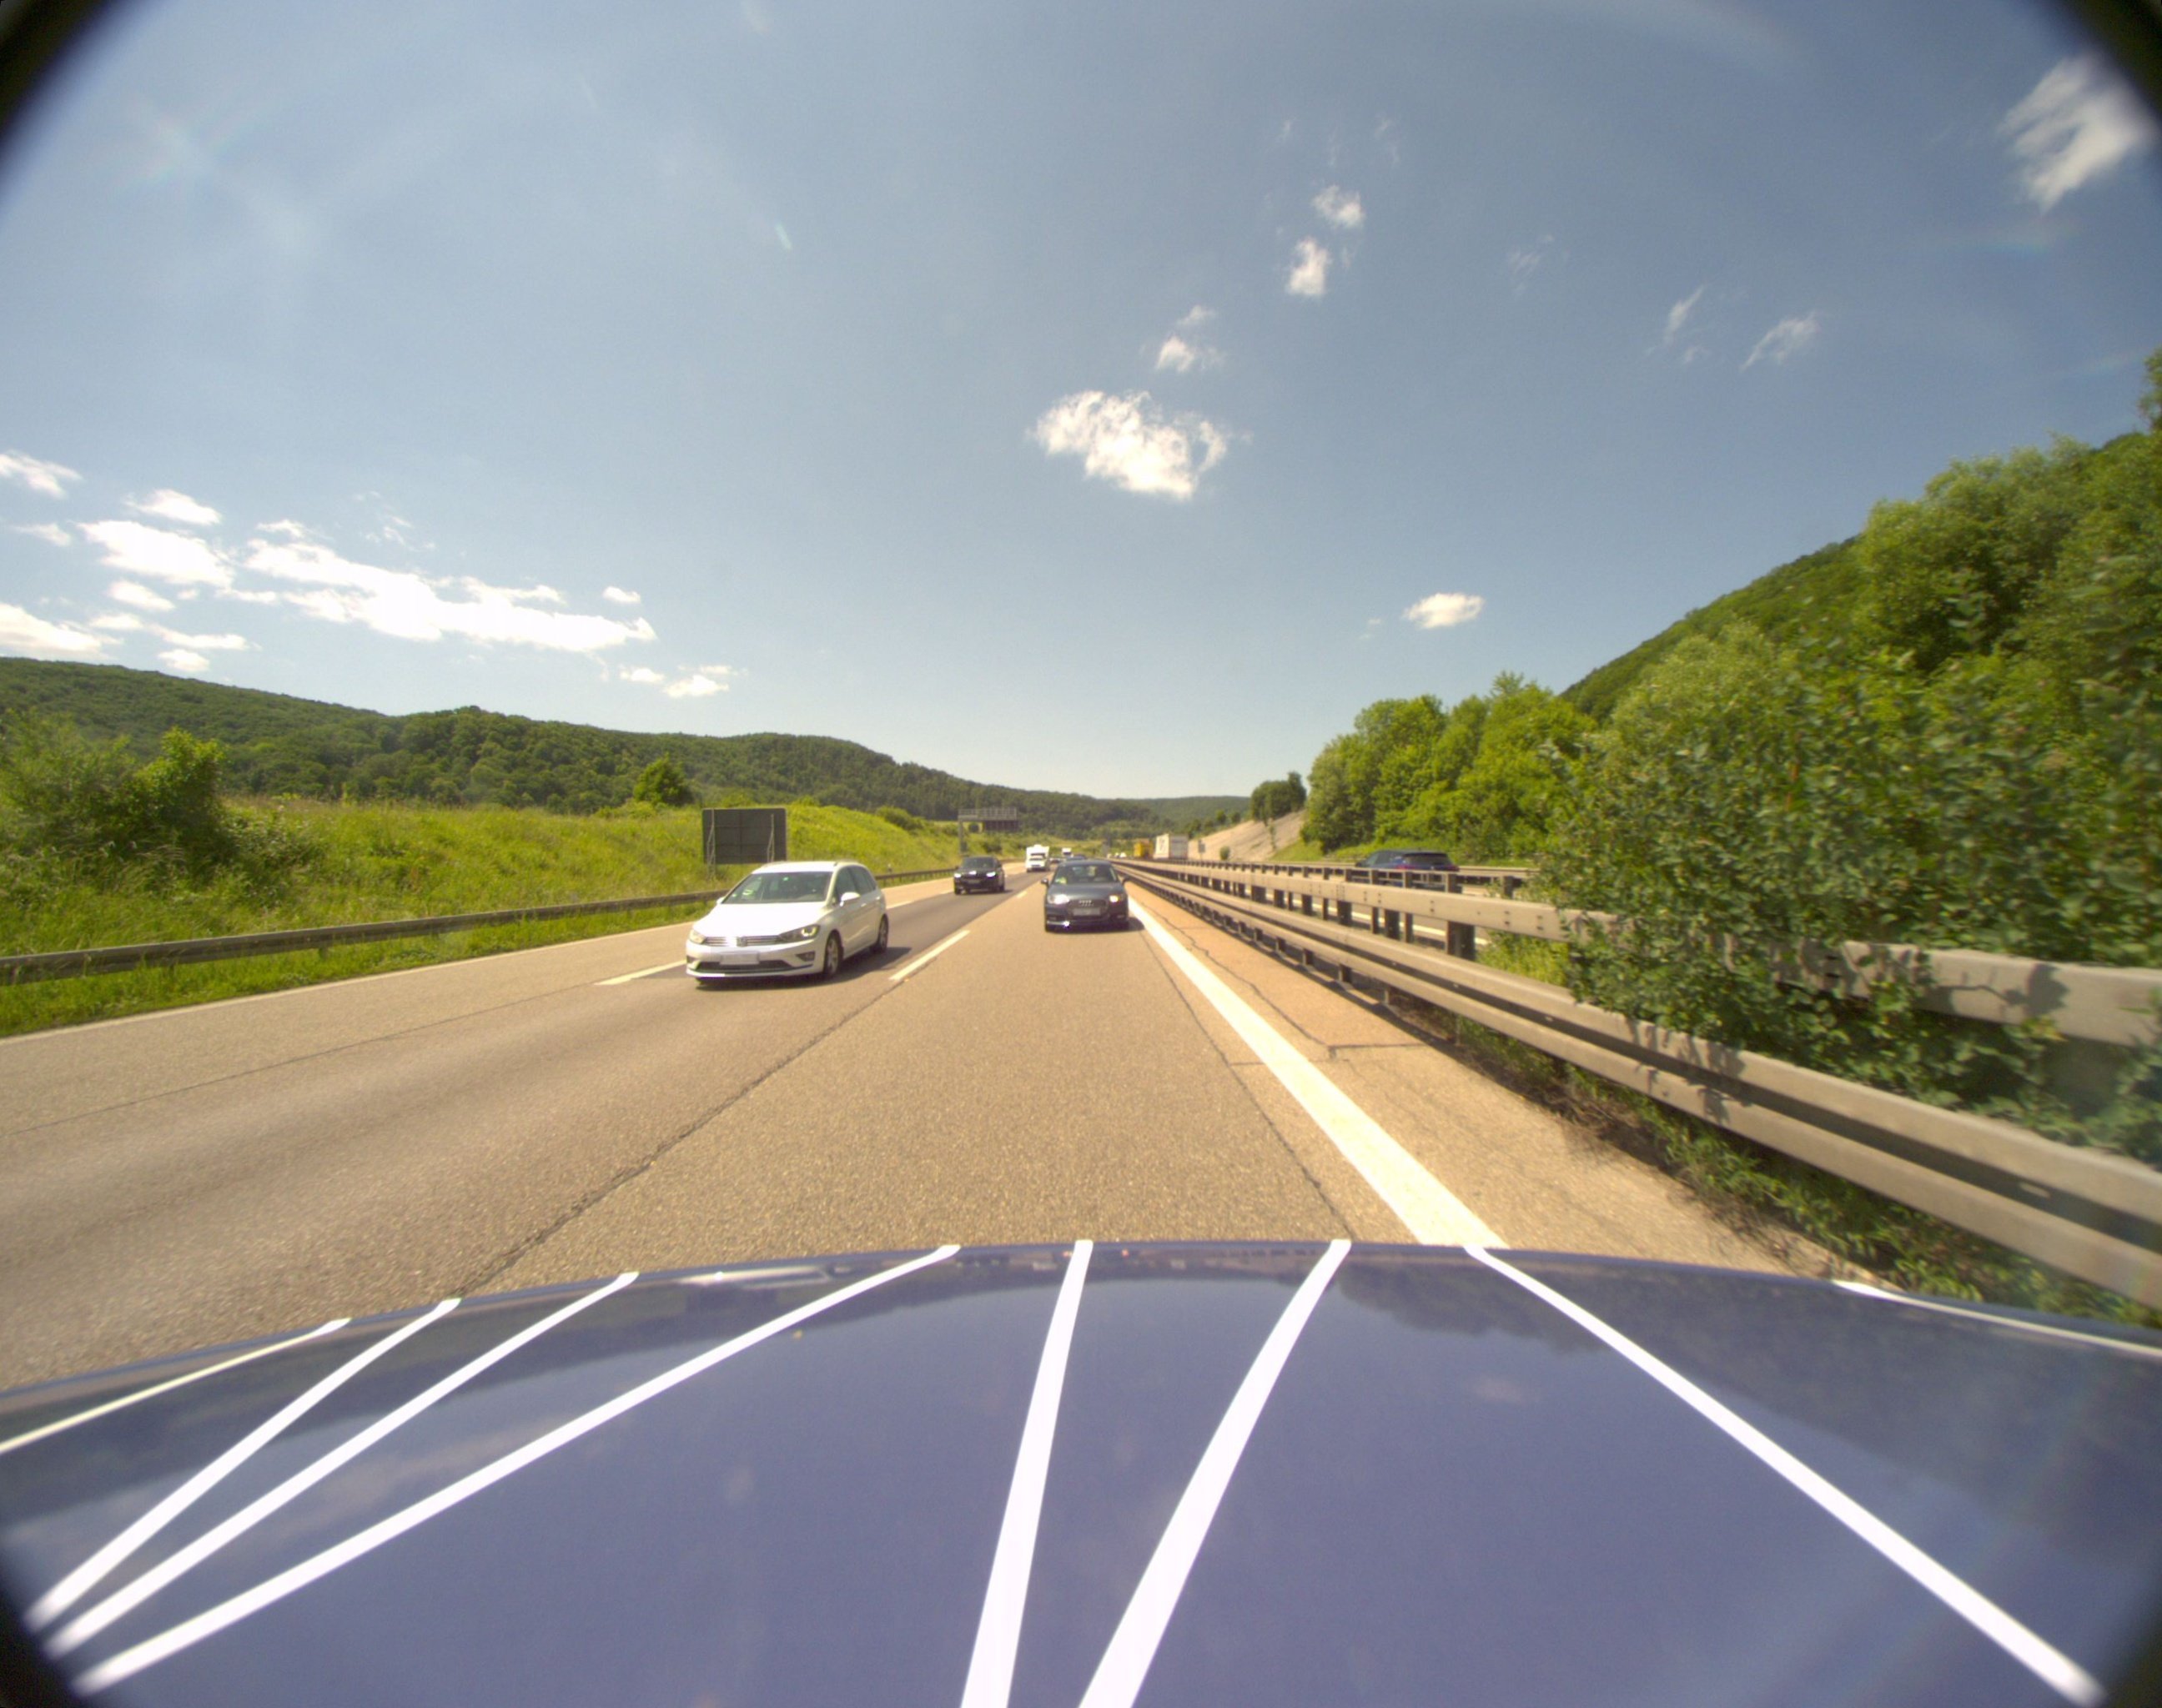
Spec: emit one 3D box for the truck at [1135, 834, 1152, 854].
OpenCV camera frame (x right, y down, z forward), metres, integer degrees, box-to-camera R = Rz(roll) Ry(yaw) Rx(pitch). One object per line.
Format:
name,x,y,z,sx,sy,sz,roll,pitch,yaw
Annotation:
truck,13.356,-2.066,162.736,2.834,4.123,9.614,-2,0,1

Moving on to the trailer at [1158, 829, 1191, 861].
trailer,12.344,-1.153,101.281,2.863,4.052,11.262,0,0,0

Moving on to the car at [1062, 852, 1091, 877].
car,-0.270,0.702,51.023,1.835,1.586,4.000,-1,0,1

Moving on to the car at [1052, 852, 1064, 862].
car,-3.772,0.447,125.601,1.711,1.542,4.000,-1,0,1

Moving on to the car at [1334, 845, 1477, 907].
car,8.190,0.495,19.691,1.874,1.412,4.433,0,0,1

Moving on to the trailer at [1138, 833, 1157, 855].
trailer,13.258,-2.002,152.686,2.834,4.123,10.404,-2,0,1

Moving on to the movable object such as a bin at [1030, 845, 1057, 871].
movable object such as a bin,-4.054,0.418,82.858,2.481,2.616,6.708,-2,0,1

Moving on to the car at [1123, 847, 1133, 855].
car,9.215,-0.540,148.440,1.751,1.510,4.000,-2,0,0

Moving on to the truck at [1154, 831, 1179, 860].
truck,12.328,-1.232,109.882,2.916,4.078,5.847,0,1,0

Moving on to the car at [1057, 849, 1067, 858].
car,-3.949,-0.090,158.894,1.999,2.002,4.000,-1,0,-1

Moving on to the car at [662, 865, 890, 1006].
car,-4.149,1.002,11.109,1.777,1.532,4.053,-2,0,-2

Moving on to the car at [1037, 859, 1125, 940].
car,0.118,0.872,16.239,1.591,1.402,4.001,-2,0,3

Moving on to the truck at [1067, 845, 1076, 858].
truck,-2.709,-0.703,225.249,2.336,3.623,7.005,-2,0,1

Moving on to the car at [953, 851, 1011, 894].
car,-4.323,0.779,33.735,1.893,1.761,4.171,-1,0,1

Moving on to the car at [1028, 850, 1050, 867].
car,-4.173,0.430,76.035,1.821,1.574,4.000,-1,0,1

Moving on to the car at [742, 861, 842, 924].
car,-8.466,1.050,22.654,1.684,1.585,4.246,-2,0,-6
